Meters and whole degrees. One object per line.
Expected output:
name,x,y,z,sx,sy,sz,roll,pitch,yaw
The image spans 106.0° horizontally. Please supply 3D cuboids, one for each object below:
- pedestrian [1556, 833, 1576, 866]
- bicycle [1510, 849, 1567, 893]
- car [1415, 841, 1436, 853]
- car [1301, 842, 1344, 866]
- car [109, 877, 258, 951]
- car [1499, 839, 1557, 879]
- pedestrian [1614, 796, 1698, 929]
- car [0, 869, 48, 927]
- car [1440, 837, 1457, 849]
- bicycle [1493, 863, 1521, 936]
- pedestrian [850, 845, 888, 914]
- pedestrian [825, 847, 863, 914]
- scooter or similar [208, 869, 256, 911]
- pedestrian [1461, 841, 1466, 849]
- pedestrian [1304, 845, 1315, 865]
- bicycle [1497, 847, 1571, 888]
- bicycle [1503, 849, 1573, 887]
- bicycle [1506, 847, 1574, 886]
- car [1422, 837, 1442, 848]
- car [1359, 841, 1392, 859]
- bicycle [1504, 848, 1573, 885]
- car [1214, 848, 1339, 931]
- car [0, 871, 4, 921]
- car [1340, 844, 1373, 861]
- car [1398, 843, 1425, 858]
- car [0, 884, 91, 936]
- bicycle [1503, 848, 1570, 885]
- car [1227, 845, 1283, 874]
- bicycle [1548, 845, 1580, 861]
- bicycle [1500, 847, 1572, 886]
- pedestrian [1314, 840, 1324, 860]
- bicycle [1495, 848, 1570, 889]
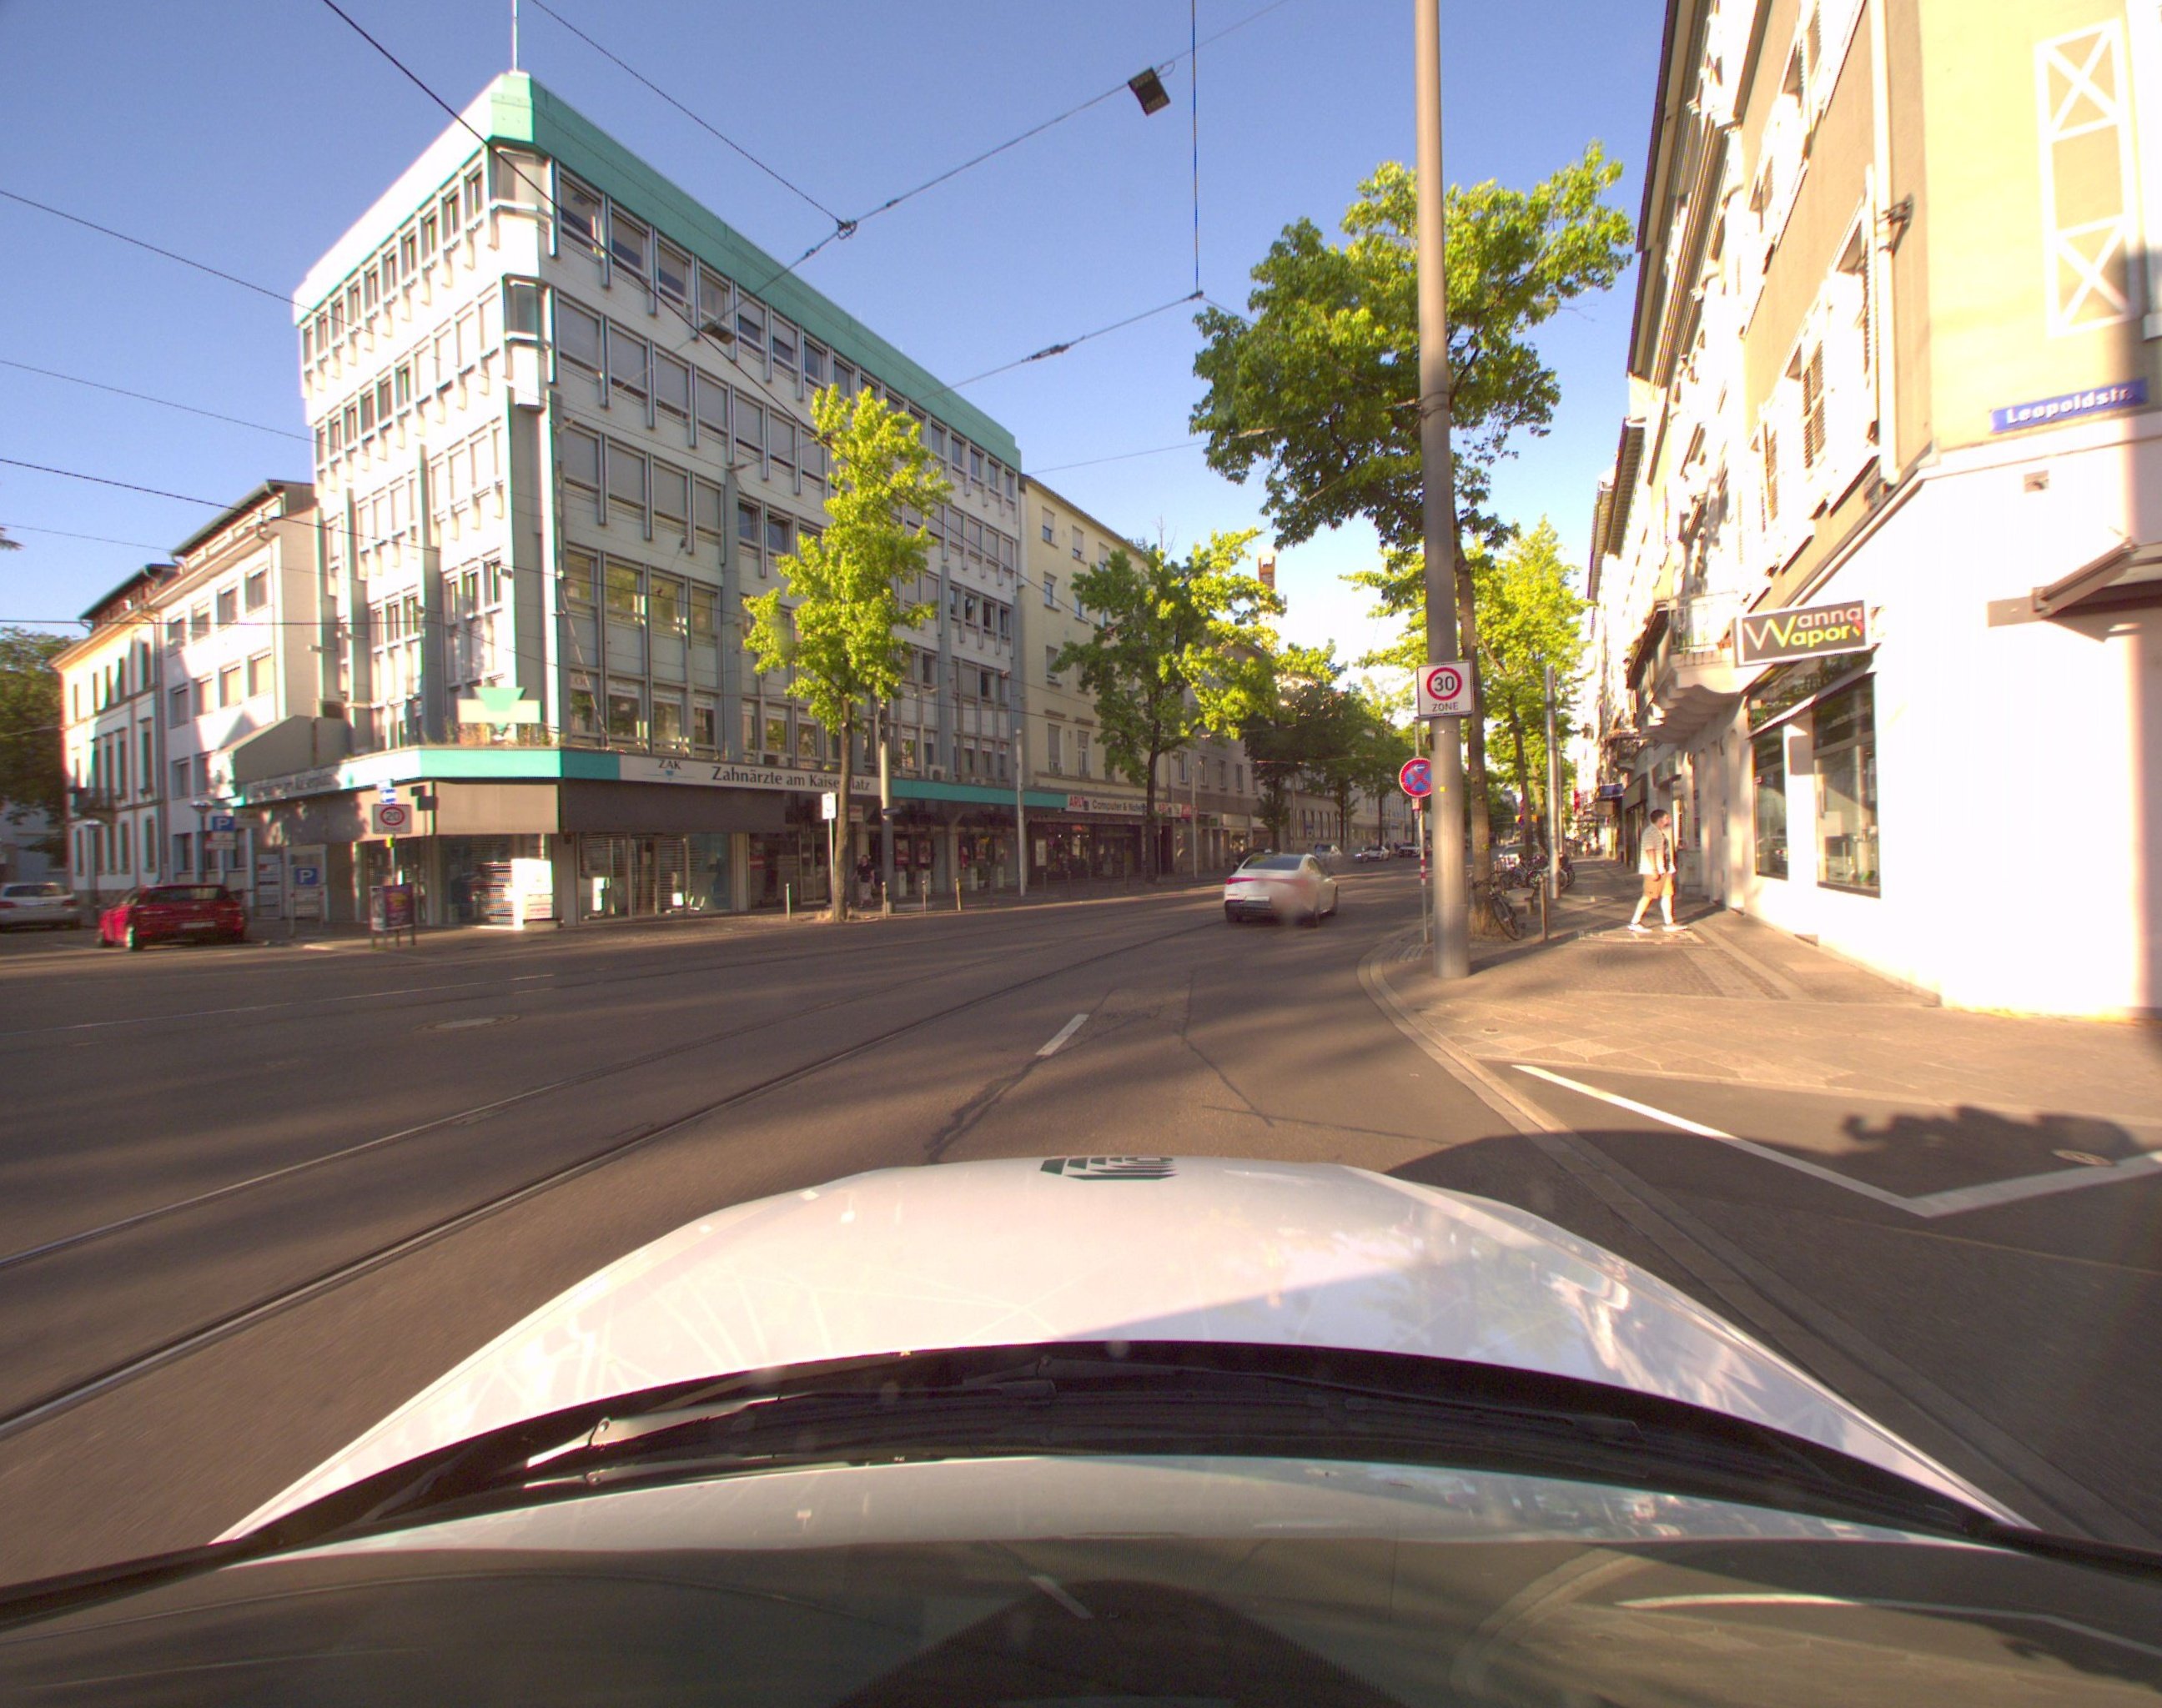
pedestrian,24.235,-0.230,40.677,0.795,1.643,0.760,-3,-1,31
bicycle,12.733,0.461,22.712,0.460,1.154,1.677,-1,0,-8
car,43.185,-0.873,101.987,1.672,1.499,4.261,-1,0,32
car,18.182,-0.044,61.172,1.943,1.639,4.843,2,2,31
car,-21.325,1.328,19.319,3.948,1.485,2.040,-1,0,37
car,18.488,0.193,33.577,1.758,1.440,4.450,-5,-2,31
pedestrian,9.018,0.134,12.809,0.837,2.014,0.847,-1,-1,18
car,-40.182,1.619,30.117,3.948,2.014,2.013,-1,0,32
car,54.518,-1.641,120.814,1.538,1.796,3.187,-2,0,39
bicycle,6.871,0.691,13.126,0.351,1.076,1.709,-1,0,28
pedestrian,-6.373,0.758,24.453,0.789,2.014,0.739,-1,-1,32
pedestrian,-7.275,0.807,24.996,0.789,2.014,0.739,-1,-1,32
scooter or similar,-30.102,1.253,28.898,0.758,1.398,1.907,-1,0,-34
pedestrian,68.957,-1.641,146.914,0.653,1.464,0.564,-2,0,-40
pedestrian,19.833,0.104,70.695,0.668,1.680,0.652,-2,0,31
bicycle,13.386,0.398,24.093,1.848,1.154,0.566,-1,0,33
bicycle,14.163,0.431,25.249,1.848,1.154,0.566,-1,0,33
bicycle,15.127,0.424,26.878,1.848,1.154,0.566,-4,-2,33
car,46.958,-1.540,108.981,1.974,1.292,4.025,-1,0,31
car,28.117,-0.428,77.586,1.928,1.640,4.940,-1,0,32
bicycle,14.478,0.405,25.781,1.848,1.154,0.566,-1,0,33
car,4.282,0.649,17.385,1.851,1.468,4.065,1,1,24
car,-45.779,1.744,33.008,3.949,2.013,2.012,-2,0,29
car,24.027,-0.135,70.914,1.943,1.412,4.876,-1,0,28
car,38.121,-0.450,93.844,1.943,1.692,5.045,-1,0,32
car,-34.499,1.798,26.833,3.948,1.530,2.013,-1,0,34
bicycle,14.729,0.410,26.339,1.848,1.154,0.566,-1,0,33
car,10.443,0.287,48.708,1.943,1.640,4.025,-1,0,32
bicycle,34.584,-0.102,58.366,1.839,1.074,0.716,-2,0,21
bicycle,13.790,0.376,24.686,1.848,1.154,0.566,-1,0,33
pedestrian,20.578,-0.311,70.353,0.679,1.720,0.660,-1,0,31
bicycle,13.088,0.411,23.633,1.848,1.154,0.350,-1,0,33
